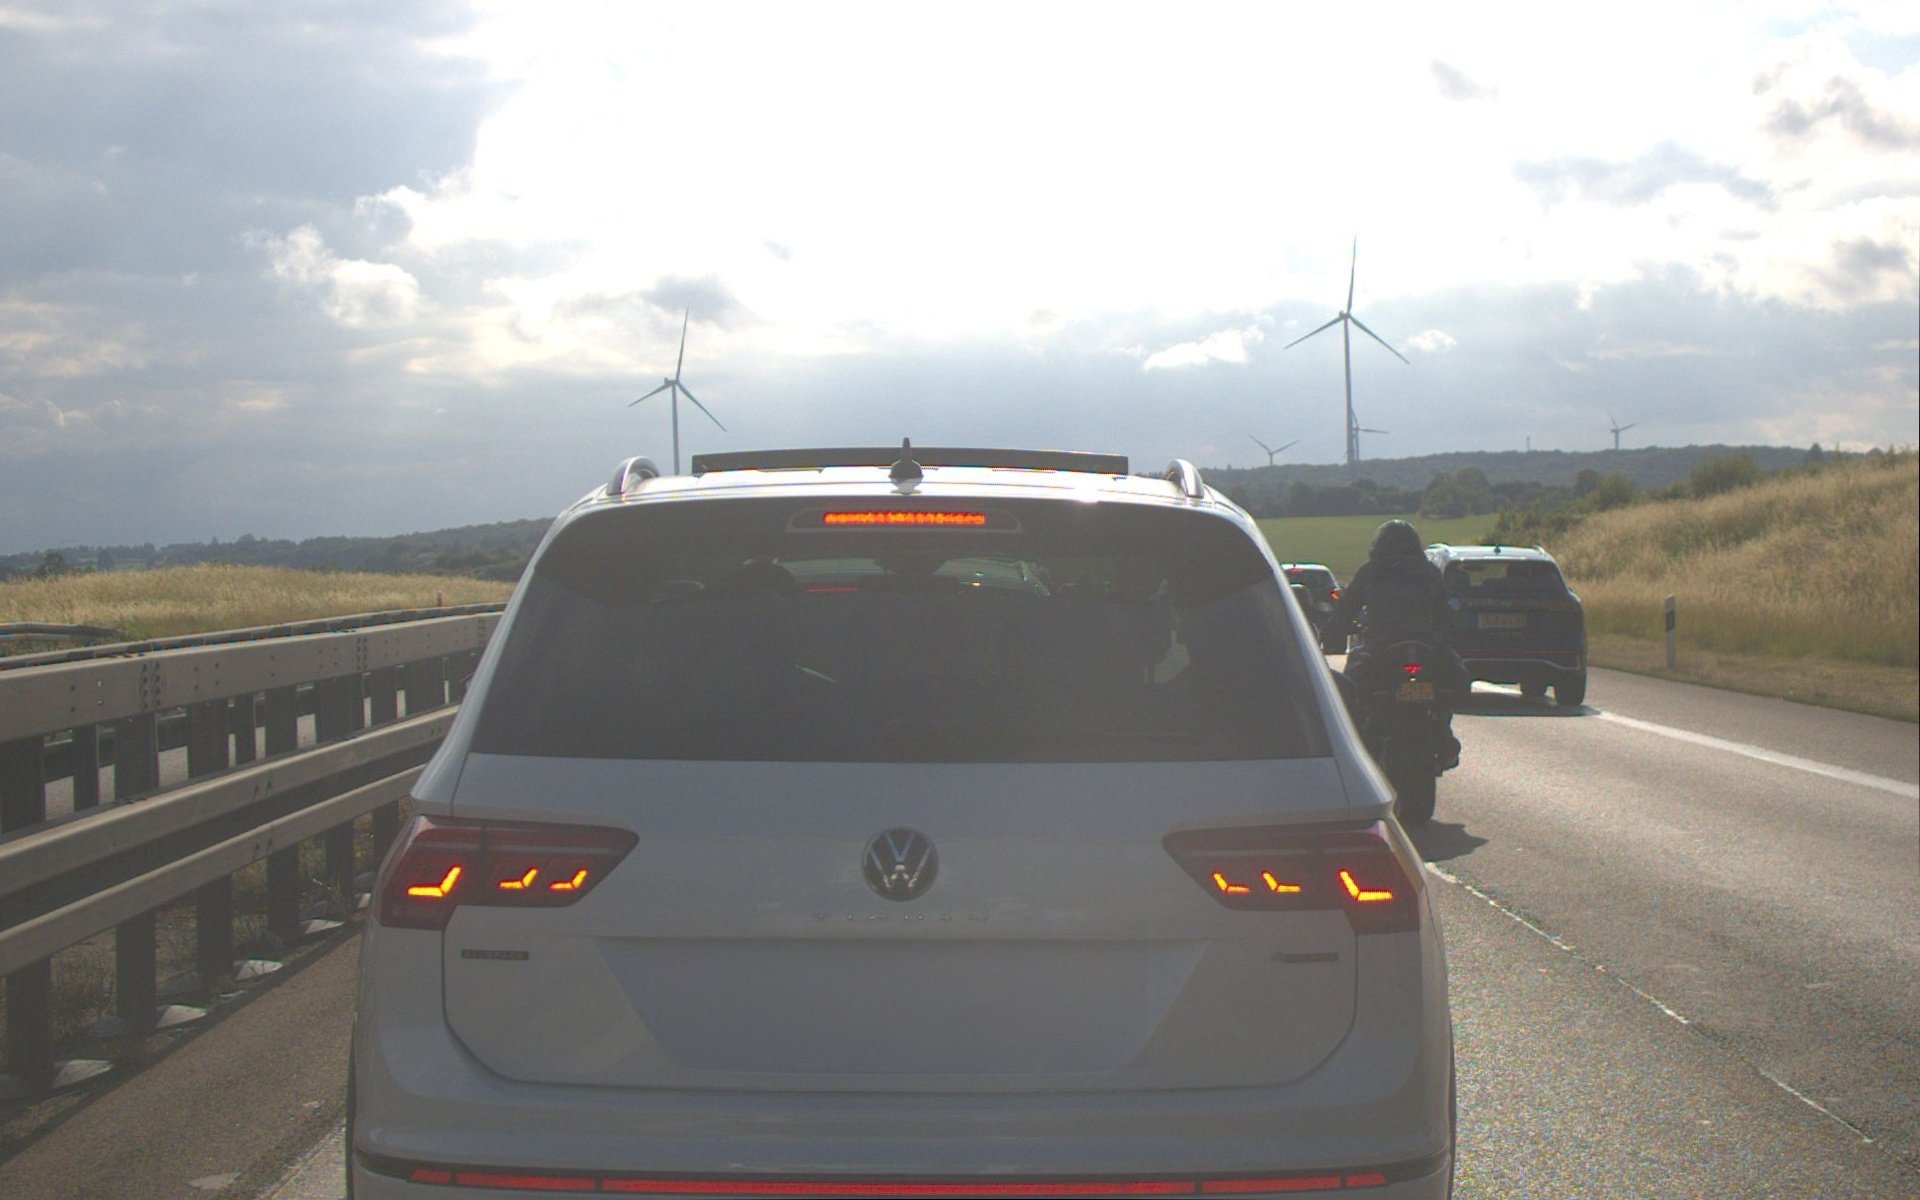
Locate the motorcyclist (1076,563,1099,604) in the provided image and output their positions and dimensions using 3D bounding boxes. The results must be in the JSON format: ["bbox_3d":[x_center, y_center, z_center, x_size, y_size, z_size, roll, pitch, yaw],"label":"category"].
[{"bbox_3d":[4.862,-0.643,131.215,0.849,1.554,0.934,0,0,-1],"label":"motorcyclist"}]

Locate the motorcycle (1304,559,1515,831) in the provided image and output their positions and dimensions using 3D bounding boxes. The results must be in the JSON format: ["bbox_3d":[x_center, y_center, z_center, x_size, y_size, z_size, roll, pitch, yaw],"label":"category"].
[{"bbox_3d":[2.499,0.498,19.347,0.895,1.450,1.982,0,0,-1],"label":"motorcycle"}]

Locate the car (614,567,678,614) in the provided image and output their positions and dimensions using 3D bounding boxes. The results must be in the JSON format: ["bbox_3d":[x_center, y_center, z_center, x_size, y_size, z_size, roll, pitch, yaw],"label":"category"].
[{"bbox_3d":[-10.094,-0.329,110.727,1.732,1.480,4.000,0,0,0],"label":"car"}]

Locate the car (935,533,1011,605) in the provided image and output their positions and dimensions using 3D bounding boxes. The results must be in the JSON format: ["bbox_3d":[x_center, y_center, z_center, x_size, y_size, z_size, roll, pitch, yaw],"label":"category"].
[{"bbox_3d":[0.285,-0.720,80.141,1.704,1.644,4.000,0,0,-1],"label":"car"}]

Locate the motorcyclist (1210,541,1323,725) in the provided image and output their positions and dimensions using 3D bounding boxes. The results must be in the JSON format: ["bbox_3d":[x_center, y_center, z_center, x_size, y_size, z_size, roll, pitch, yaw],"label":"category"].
[{"bbox_3d":[2.722,0.282,30.654,0.895,1.611,1.022,0,0,-1],"label":"motorcyclist"}]

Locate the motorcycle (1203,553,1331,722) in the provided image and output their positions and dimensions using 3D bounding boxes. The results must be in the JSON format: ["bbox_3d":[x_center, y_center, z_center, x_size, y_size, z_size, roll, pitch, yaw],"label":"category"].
[{"bbox_3d":[2.719,0.312,30.704,0.895,1.450,2.269,0,0,-1],"label":"motorcycle"}]

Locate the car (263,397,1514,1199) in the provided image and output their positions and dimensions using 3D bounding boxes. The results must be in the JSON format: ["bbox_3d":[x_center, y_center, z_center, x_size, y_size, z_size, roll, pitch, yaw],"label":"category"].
[{"bbox_3d":[-0.120,0.531,6.866,1.770,1.670,4.000,0,0,-1],"label":"car"}]

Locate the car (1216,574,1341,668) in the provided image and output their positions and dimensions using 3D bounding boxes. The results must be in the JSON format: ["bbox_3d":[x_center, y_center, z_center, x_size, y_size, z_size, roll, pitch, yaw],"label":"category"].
[{"bbox_3d":[5.345,0.327,58.090,1.704,1.540,4.000,0,0,-1],"label":"car"}]

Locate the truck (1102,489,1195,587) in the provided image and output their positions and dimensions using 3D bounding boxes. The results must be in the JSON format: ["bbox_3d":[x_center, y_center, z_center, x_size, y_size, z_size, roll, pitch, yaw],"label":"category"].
[{"bbox_3d":[7.134,-2.371,131.528,3.184,3.581,11.130,0,1,1],"label":"truck"}]

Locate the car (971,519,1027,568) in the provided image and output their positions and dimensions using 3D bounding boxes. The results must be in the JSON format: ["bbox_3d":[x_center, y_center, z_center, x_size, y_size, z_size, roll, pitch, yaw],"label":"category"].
[{"bbox_3d":[1.238,-1.807,110.081,1.704,1.540,4.000,0,0,-1],"label":"car"}]

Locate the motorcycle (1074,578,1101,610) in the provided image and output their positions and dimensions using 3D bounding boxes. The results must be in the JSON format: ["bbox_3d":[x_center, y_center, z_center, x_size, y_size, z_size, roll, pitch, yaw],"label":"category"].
[{"bbox_3d":[4.860,-0.235,131.263,0.895,1.186,2.257,0,0,-1],"label":"motorcycle"}]

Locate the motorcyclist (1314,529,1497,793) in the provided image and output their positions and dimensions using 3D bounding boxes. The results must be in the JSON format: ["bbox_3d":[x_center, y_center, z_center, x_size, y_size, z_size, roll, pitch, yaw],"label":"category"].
[{"bbox_3d":[2.493,0.331,19.318,0.895,1.450,0.892,0,0,-1],"label":"motorcyclist"}]

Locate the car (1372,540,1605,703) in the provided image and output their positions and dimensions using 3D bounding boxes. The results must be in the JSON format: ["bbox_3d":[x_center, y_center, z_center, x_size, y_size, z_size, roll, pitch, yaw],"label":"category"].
[{"bbox_3d":[5.599,0.200,36.868,1.821,1.596,4.235,1,0,0],"label":"car"}]
